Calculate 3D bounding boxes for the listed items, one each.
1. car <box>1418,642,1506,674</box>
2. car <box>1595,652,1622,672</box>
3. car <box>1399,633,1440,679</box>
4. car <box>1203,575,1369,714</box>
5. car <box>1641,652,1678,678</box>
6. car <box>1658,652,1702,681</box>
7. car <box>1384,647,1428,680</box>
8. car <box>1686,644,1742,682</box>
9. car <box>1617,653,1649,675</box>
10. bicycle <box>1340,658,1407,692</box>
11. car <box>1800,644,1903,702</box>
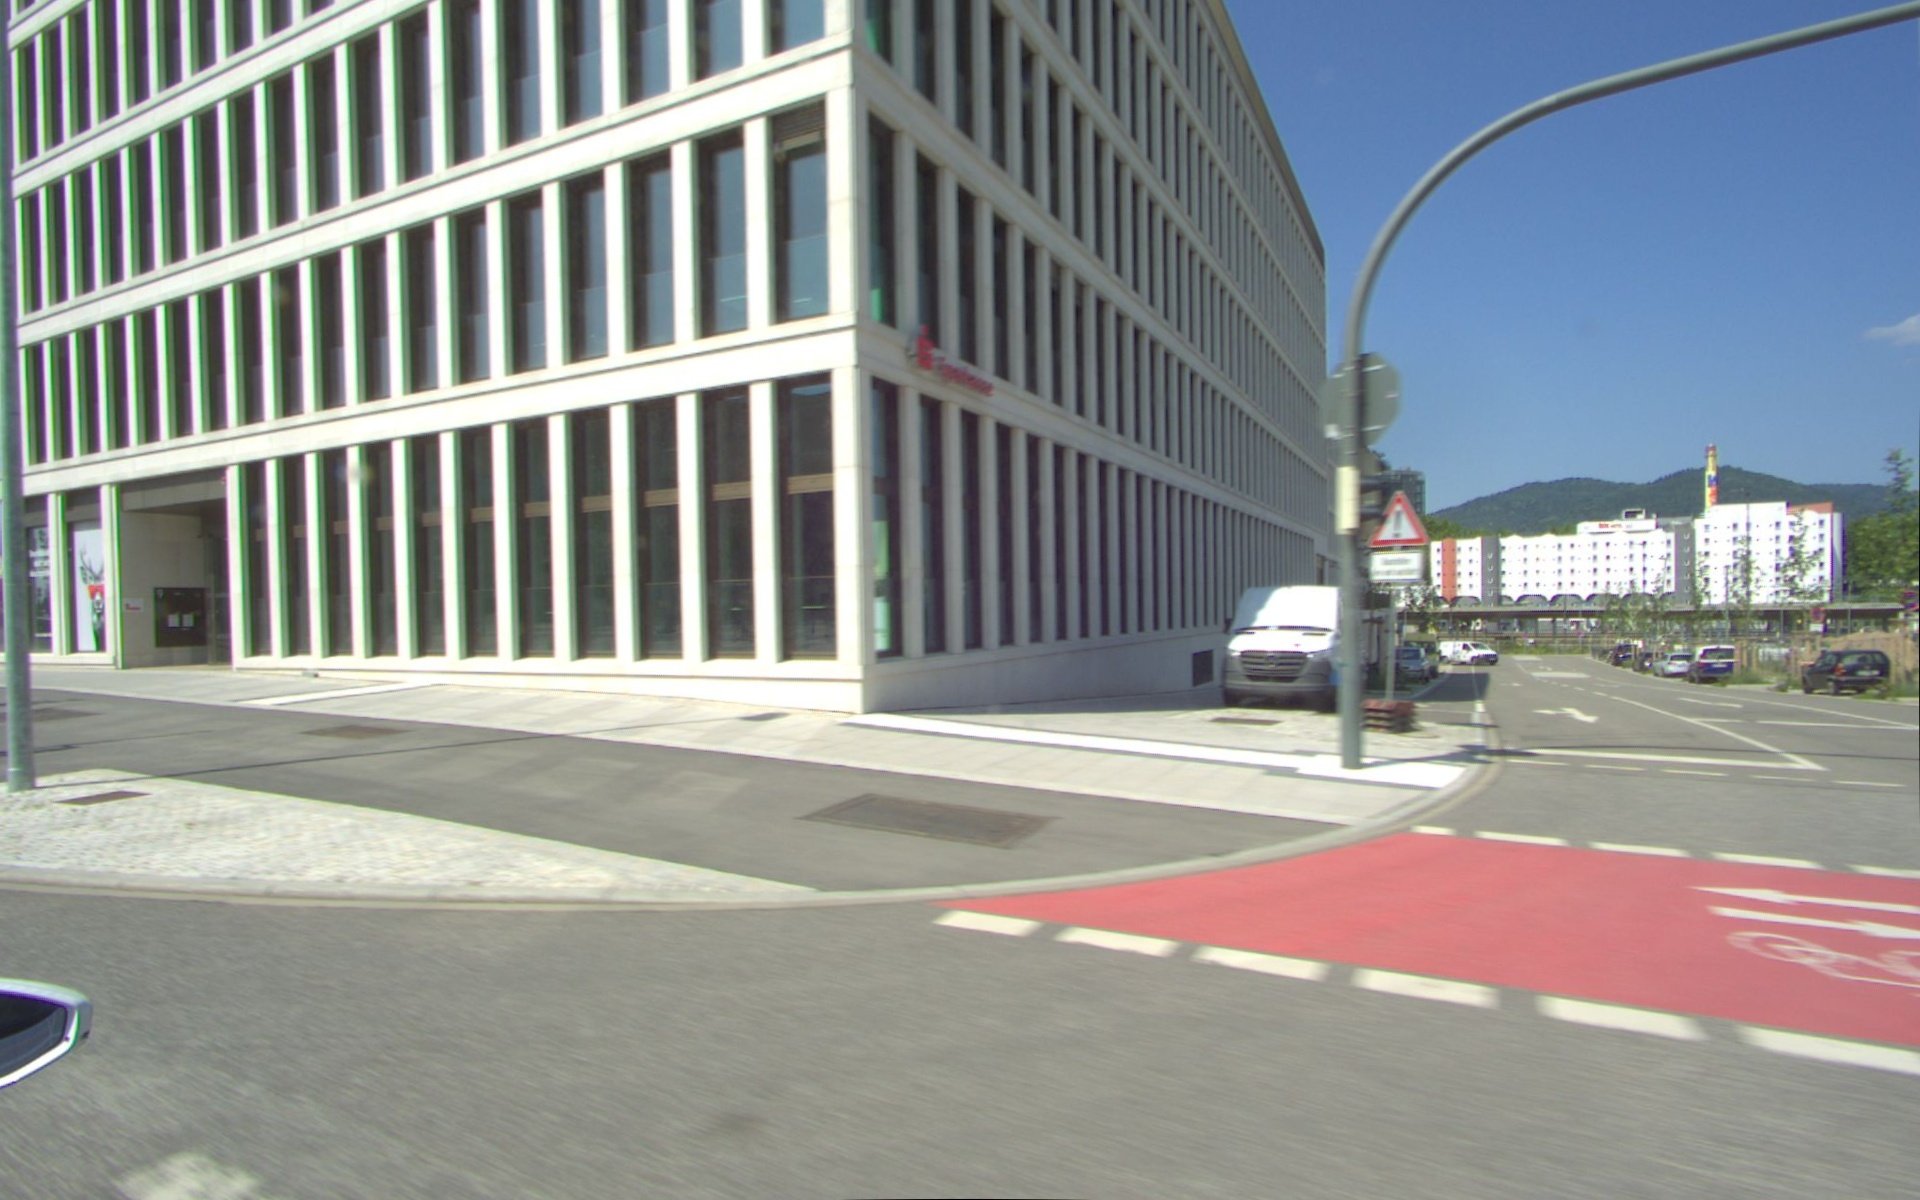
[{"bbox_3d":[40.535,4.744,81.102,2.211,2.504,6.324,2,-4,-26],"label":"car"},{"bbox_3d":[55.623,5.316,85.908,1.631,1.642,3.682,-1,-4,28],"label":"car"},{"bbox_3d":[27.095,3.329,58.987,2.044,2.504,6.135,-1,-5,26],"label":"car"},{"bbox_3d":[6.566,0.877,19.659,2.113,2.299,5.835,-1,-3,28],"label":"car"},{"bbox_3d":[46.783,4.359,67.039,1.631,1.642,3.682,-1,-4,28],"label":"car"},{"bbox_3d":[42.898,3.966,59.694,1.631,1.642,3.682,-1,-4,28],"label":"car"},{"bbox_3d":[20.524,2.955,46.005,1.743,1.416,3.661,-1,-5,26],"label":"car"},{"bbox_3d":[37.190,3.120,49.448,1.631,1.641,3.685,-1,-6,28],"label":"car"},{"bbox_3d":[51.184,4.889,76.210,1.631,1.642,3.682,-1,-4,28],"label":"car"},{"bbox_3d":[13.511,2.441,32.728,1.958,1.005,0.707,-1,-1,32],"label":"bicycle"},{"bbox_3d":[28.170,2.256,31.762,1.631,1.614,3.679,-1,-1,28],"label":"car"}]
